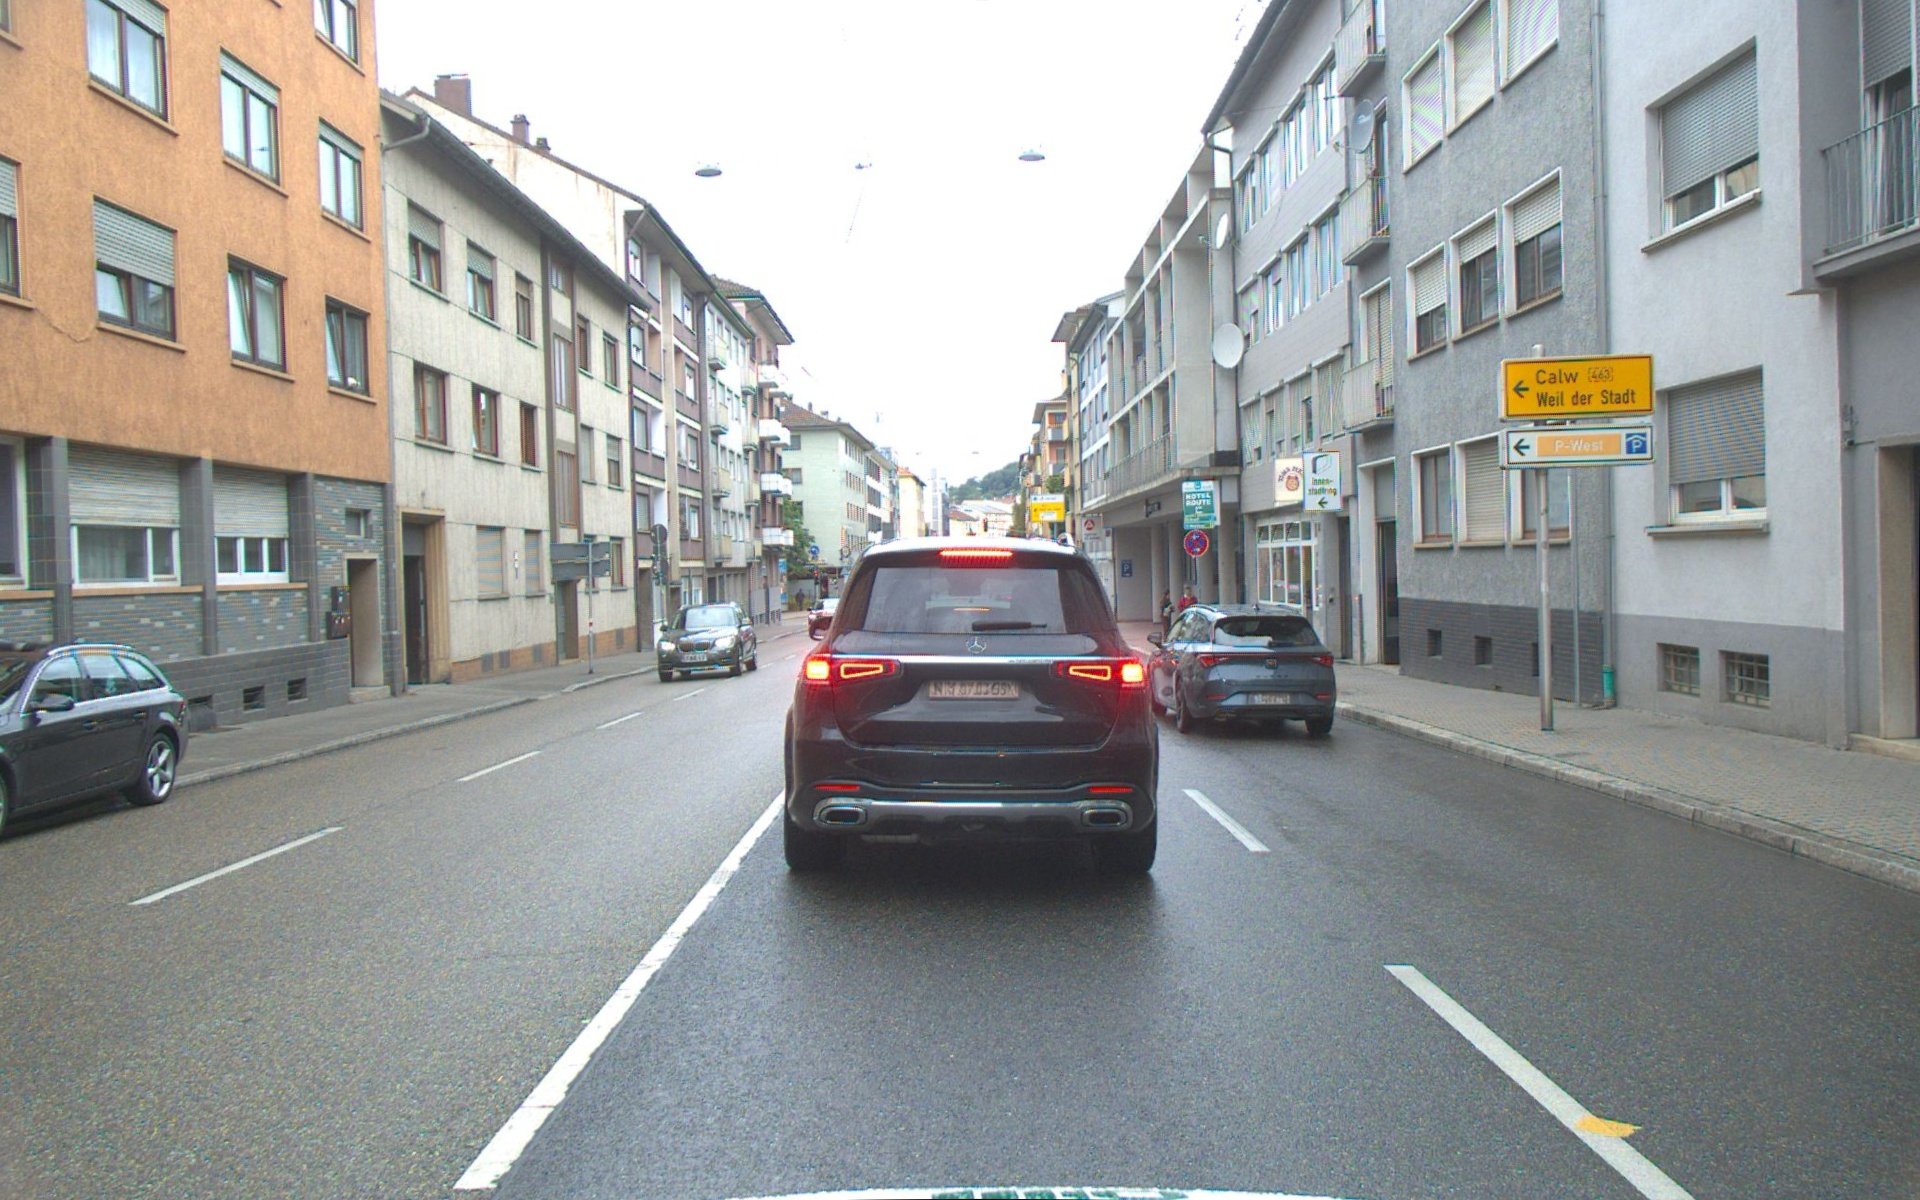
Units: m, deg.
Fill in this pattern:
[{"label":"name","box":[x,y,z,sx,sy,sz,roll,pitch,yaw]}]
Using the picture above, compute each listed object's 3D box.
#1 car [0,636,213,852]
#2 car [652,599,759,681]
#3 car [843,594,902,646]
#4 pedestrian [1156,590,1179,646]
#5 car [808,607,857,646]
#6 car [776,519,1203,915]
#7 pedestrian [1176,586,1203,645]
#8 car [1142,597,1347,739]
[{"label":"car","box":[-7.974,1.102,13.491,1.759,1.463,4.526,1,0,-1]},{"label":"car","box":[-5.427,0.807,35.743,1.669,1.533,4.158,-4,0,-1]},{"label":"car","box":[-3.239,0.732,62.222,1.798,1.757,4.475,-4,0,1]},{"label":"pedestrian","box":[5.855,0.505,46.695,0.496,1.526,0.562,-4,0,-1]},{"label":"car","box":[-5.886,1.198,76.805,1.760,1.612,4.316,-3,0,1]},{"label":"car","box":[0.101,0.548,9.827,1.984,1.837,3.999,1,0,-1]},{"label":"pedestrian","box":[6.480,0.431,46.733,0.549,1.606,0.526,-4,0,-3]},{"label":"car","box":[3.249,0.720,19.666,1.588,1.455,4.311,1,0,-1]}]
